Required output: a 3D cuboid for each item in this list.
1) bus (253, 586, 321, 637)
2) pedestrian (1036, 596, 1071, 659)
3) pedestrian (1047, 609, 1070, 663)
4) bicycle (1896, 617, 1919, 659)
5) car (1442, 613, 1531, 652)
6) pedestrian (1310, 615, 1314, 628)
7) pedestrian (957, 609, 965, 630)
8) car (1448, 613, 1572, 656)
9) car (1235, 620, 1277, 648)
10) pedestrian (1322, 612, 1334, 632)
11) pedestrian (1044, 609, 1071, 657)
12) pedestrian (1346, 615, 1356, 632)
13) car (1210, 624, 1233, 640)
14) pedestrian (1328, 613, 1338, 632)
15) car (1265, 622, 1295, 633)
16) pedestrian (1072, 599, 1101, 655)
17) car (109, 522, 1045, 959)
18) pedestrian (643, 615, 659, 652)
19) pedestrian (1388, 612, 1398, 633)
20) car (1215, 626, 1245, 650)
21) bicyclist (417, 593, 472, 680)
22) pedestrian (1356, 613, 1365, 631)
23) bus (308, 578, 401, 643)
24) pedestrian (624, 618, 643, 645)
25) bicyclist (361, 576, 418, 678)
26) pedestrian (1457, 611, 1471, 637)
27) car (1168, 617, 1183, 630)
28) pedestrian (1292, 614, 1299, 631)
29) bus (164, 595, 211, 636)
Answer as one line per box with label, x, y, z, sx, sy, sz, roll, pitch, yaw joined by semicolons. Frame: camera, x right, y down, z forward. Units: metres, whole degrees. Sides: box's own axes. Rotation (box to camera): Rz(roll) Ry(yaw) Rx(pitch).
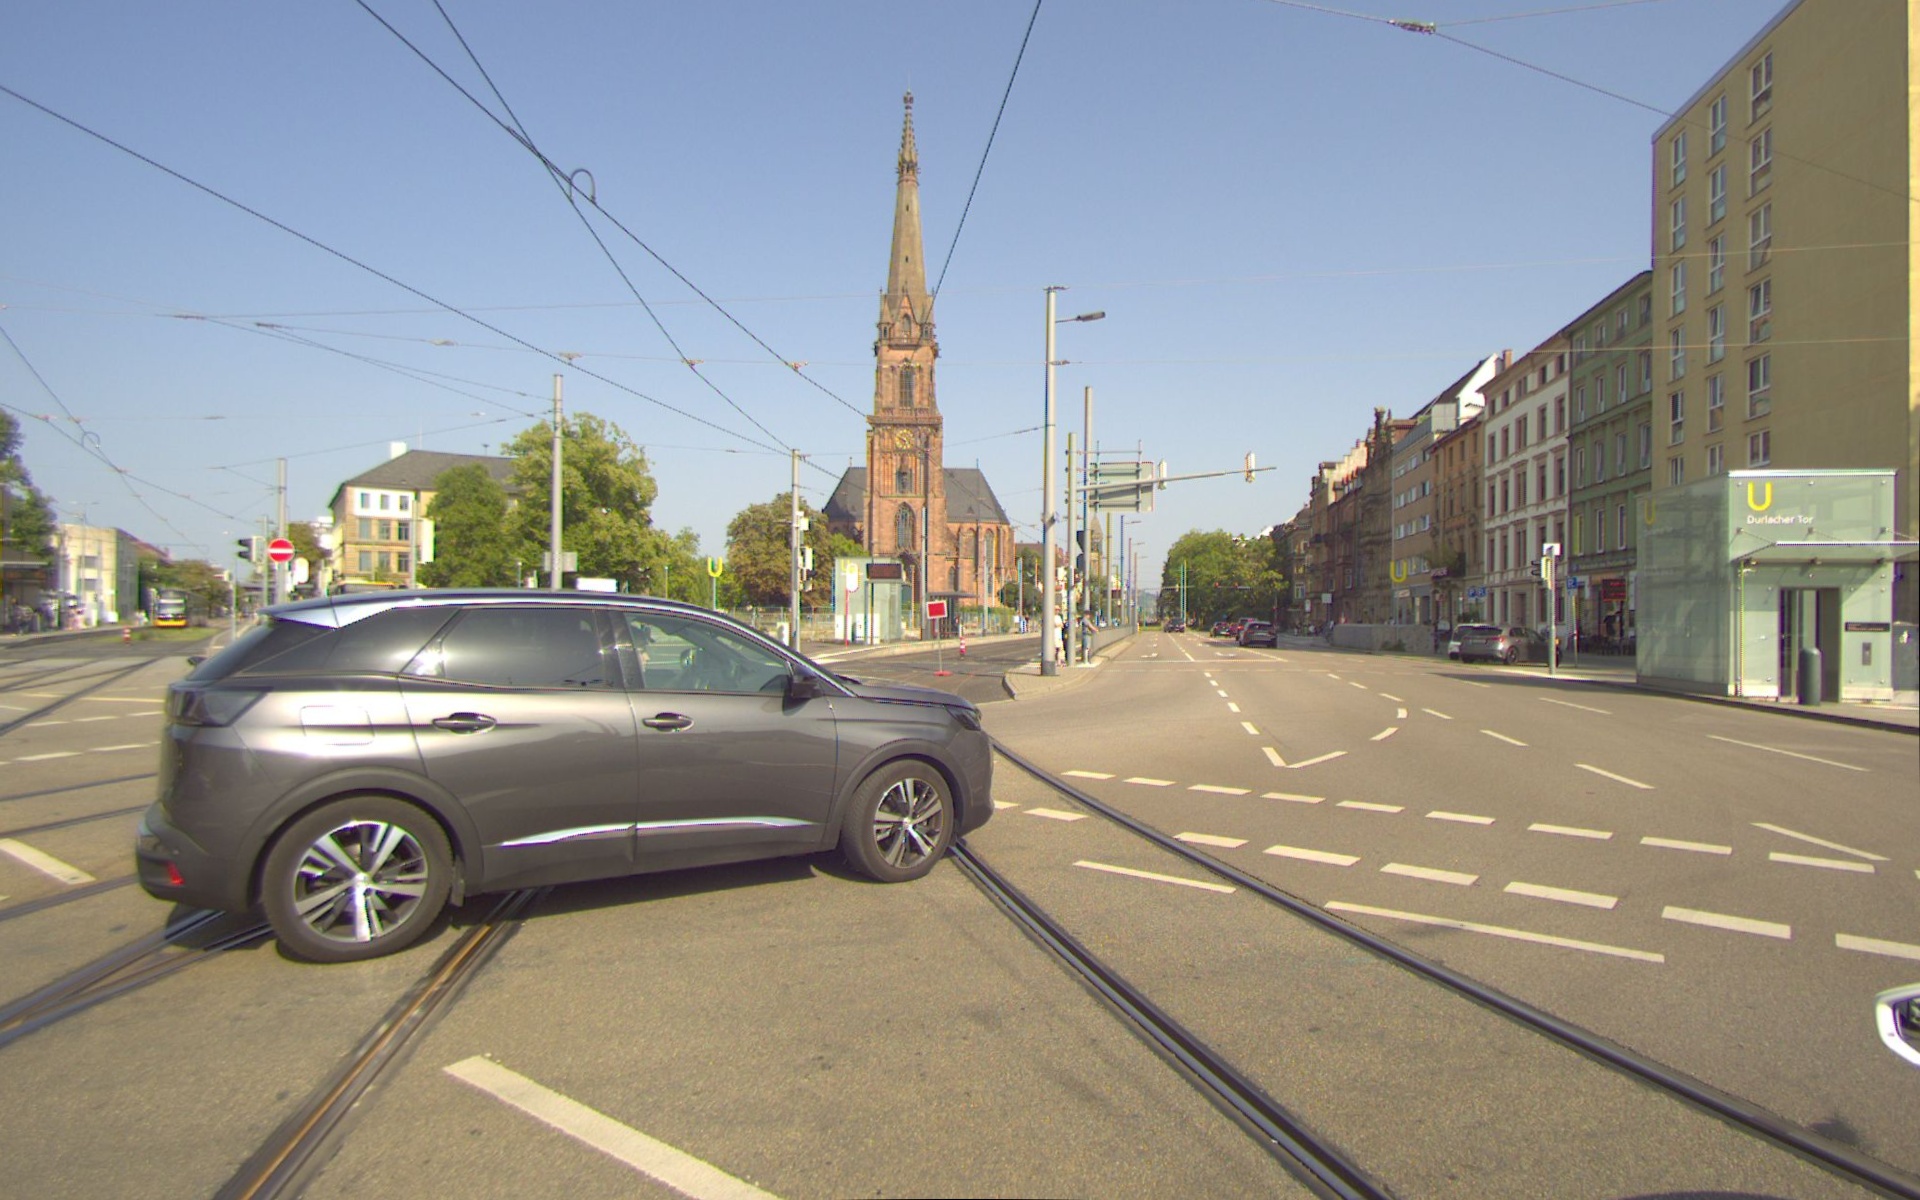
bus;-46.182;0.826;68.705;3.195;3.221;13.178;1;-1;-37
pedestrian;2.783;0.818;29.730;0.819;1.811;0.729;-3;-1;19
pedestrian;3.059;1.117;31.108;0.622;1.618;0.468;-2;-1;10
bicycle;28.466;1.094;29.029;1.982;1.222;0.671;0;-1;11
car;21.041;1.305;40.127;3.487;1.483;1.610;1;-1;-31
pedestrian;33.805;2.070;96.460;0.270;1.291;0.448;0;-1;4
pedestrian;0.056;1.582;81.429;0.508;1.723;0.665;0;-1;10
car;19.733;1.237;36.035;4.354;1.442;1.835;1;-1;-28
car;16.603;1.896;56.551;1.832;1.443;4.360;2;-1;11
pedestrian;33.264;1.986;90.795;0.909;1.856;0.801;0;-1;8
pedestrian;3.275;1.116;33.713;0.794;1.568;0.548;-2;-1;13
pedestrian;38.076;2.247;97.811;0.708;1.631;0.857;0;-1;12
car;25.307;3.049;97.249;1.832;1.443;4.360;2;-1;11
pedestrian;34.672;2.067;93.312;0.736;1.752;0.801;0;-1;8
car;48.400;4.190;152.006;4.109;1.584;2.001;0;-1;7
pedestrian;4.047;0.859;32.071;0.800;1.715;0.652;-2;-1;12
car;-1.835;0.562;5.745;4.306;1.642;1.984;1;-1;-31
pedestrian;-14.983;1.632;48.683;0.635;1.784;0.439;1;-1;-36
pedestrian;38.653;1.995;89.676;0.593;1.856;0.743;0;-1;8
car;20.124;2.842;75.012;1.800;1.642;4.360;2;-1;11
bicyclist;-10.105;0.701;19.704;0.502;1.652;0.806;0;0;27
pedestrian;38.902;2.144;97.606;0.708;1.811;0.857;0;-1;12
bus;-34.036;0.603;56.118;3.195;3.221;13.178;1;-1;-37
pedestrian;-15.829;1.527;48.663;0.761;1.309;0.552;1;-1;-36
bicyclist;-11.398;0.529;20.079;0.570;2.001;0.807;0;0;26
pedestrian;31.668;1.509;63.150;0.598;1.651;0.737;0;-1;12
car;27.519;2.970;128.163;1.711;1.547;3.876;0;-1;10
pedestrian;33.425;2.223;99.991;0.555;1.752;0.746;0;-1;8
bus;-71.227;1.433;92.797;3.195;3.464;13.178;1;-1;-37
